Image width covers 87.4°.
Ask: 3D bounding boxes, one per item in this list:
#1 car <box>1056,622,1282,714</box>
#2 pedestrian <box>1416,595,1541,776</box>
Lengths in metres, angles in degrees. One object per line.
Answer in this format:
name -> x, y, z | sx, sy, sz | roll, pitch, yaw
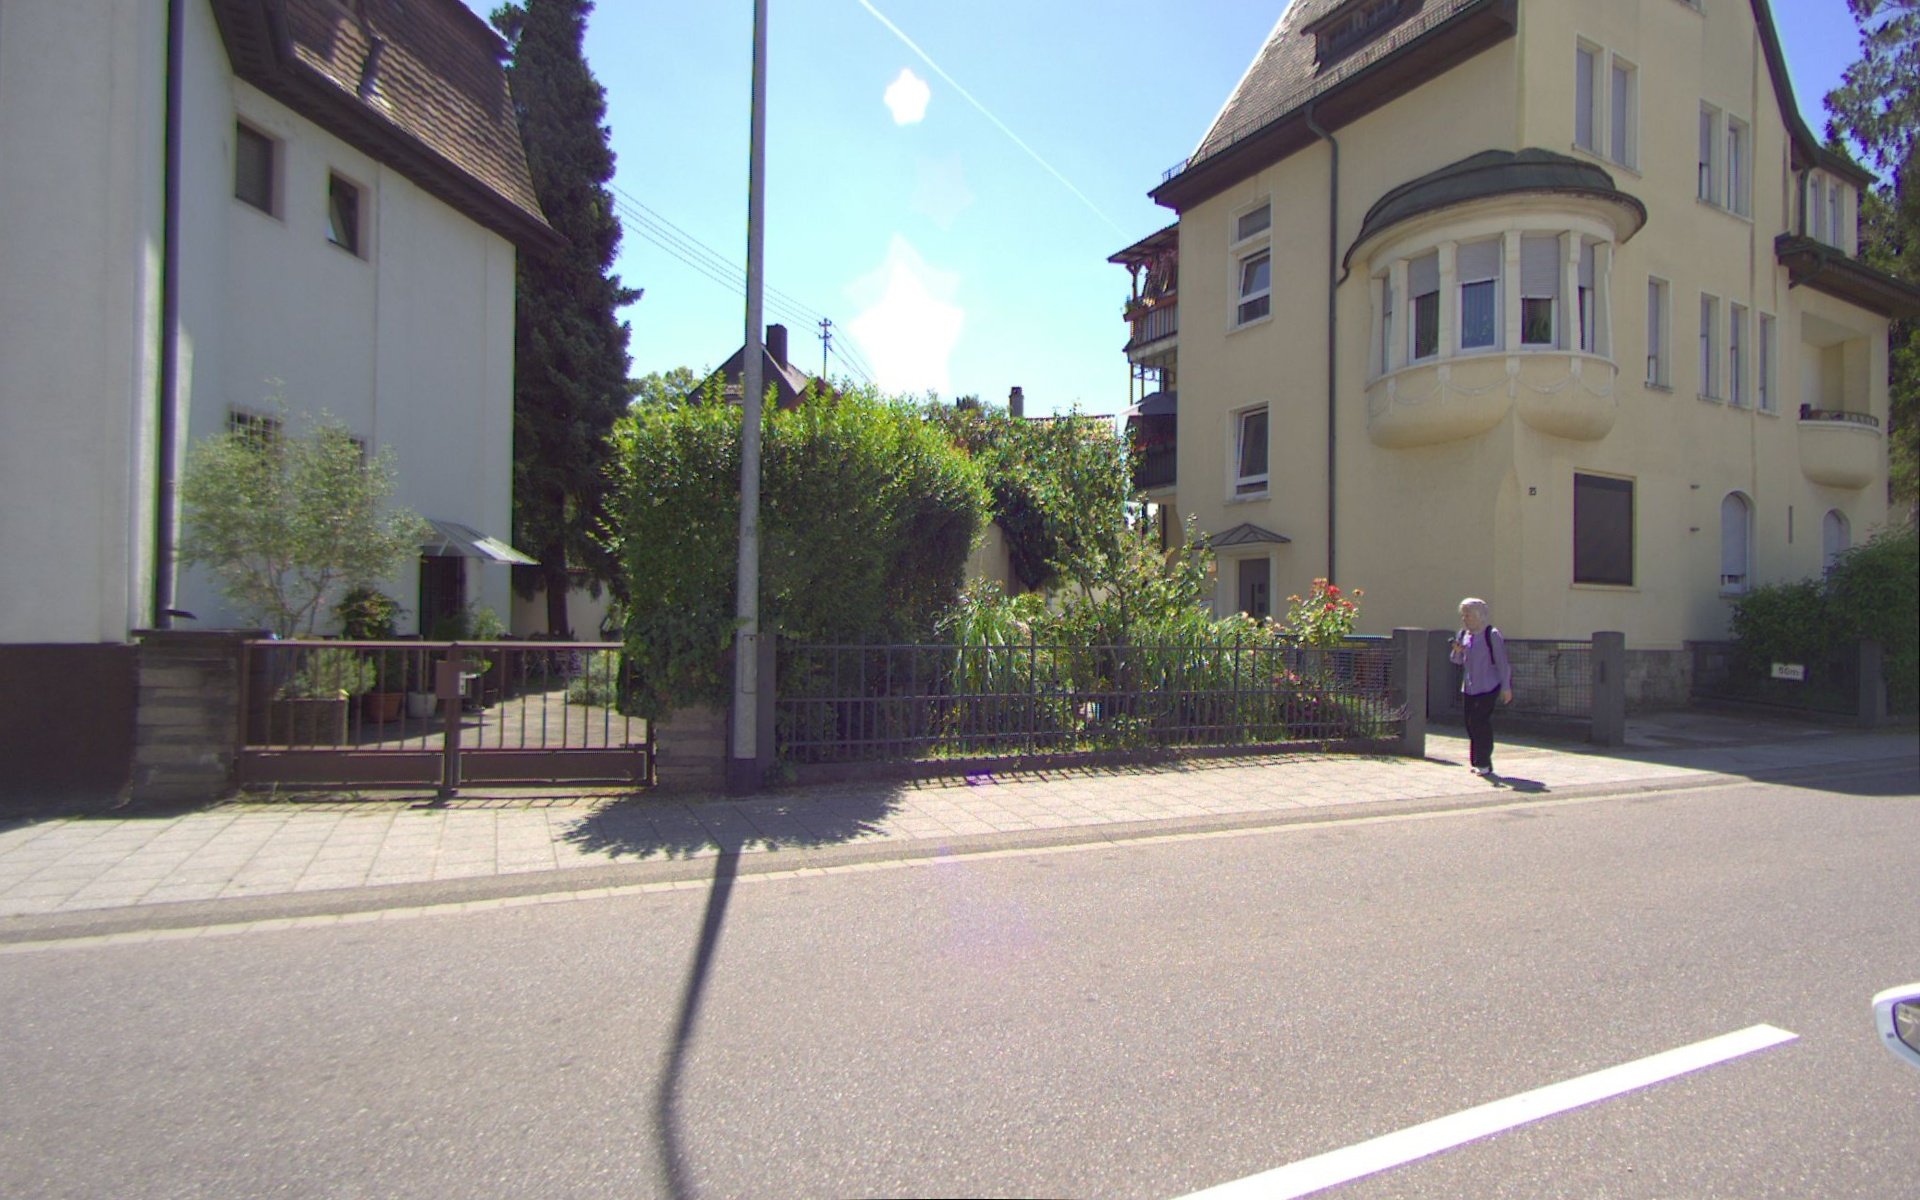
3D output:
car -> 3.474, 1.094, 17.440 | 1.843, 1.398, 3.975 | 1, -2, -26
pedestrian -> 4.830, 0.769, 9.363 | 0.814, 1.586, 0.610 | 1, 3, -28
